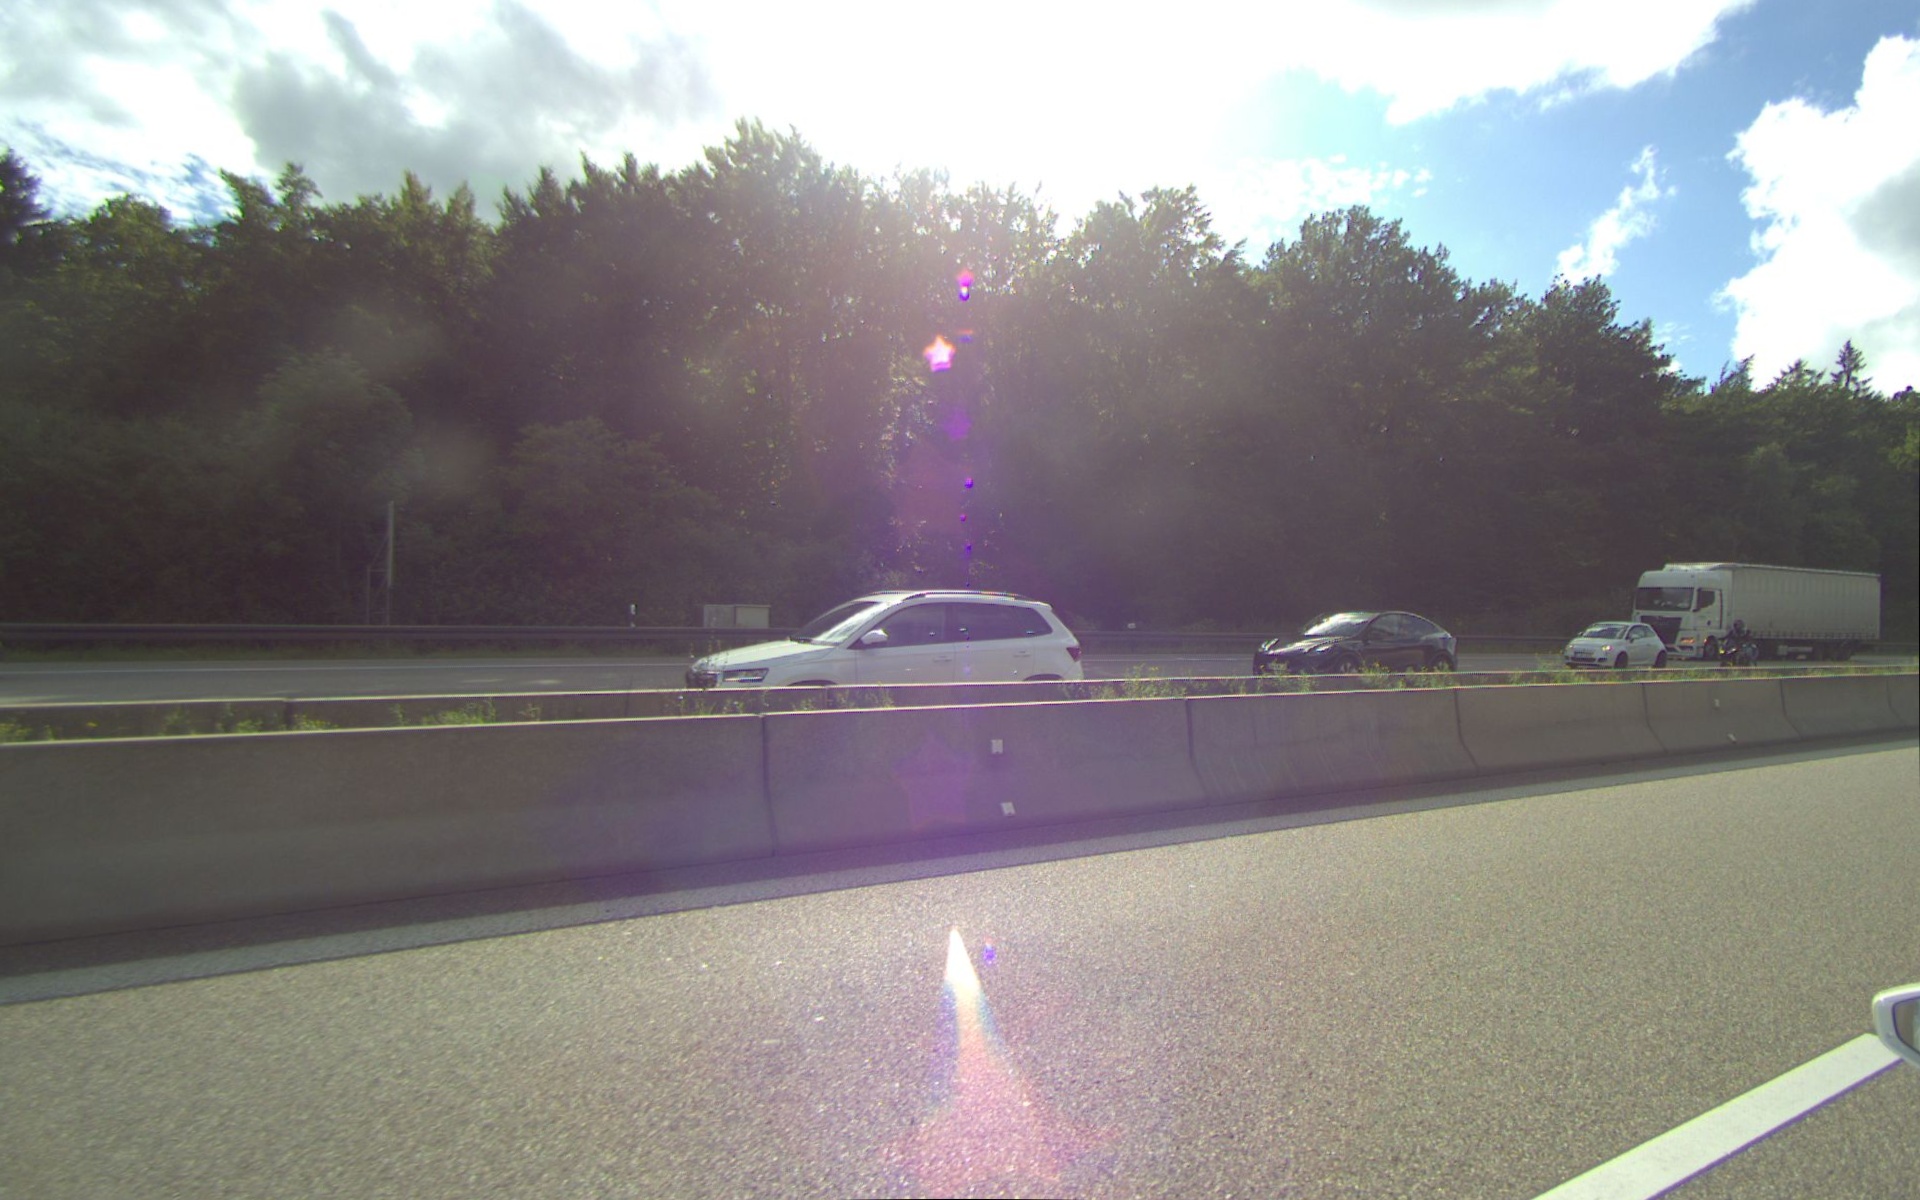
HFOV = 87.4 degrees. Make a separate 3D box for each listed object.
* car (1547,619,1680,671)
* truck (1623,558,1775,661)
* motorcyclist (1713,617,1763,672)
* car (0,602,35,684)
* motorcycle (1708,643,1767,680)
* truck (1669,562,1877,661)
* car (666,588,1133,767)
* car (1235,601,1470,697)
[{"bbox_3d":[20.722,1.405,31.833,4.079,1.518,1.839,2,0,-29],"label":"car"},{"bbox_3d":[31.591,0.435,42.903,6.517,4.123,2.695,1,0,-29],"label":"truck"},{"bbox_3d":[21.720,1.237,28.046,1.063,1.496,0.750,1,0,-30],"label":"motorcyclist"},{"bbox_3d":[-16.387,0.616,14.844,3.746,1.228,1.486,1,0,-32],"label":"car"},{"bbox_3d":[21.709,1.705,28.037,2.224,0.969,0.480,2,0,-30],"label":"motorcycle"},{"bbox_3d":[37.551,0.621,46.138,12.927,4.123,2.695,1,0,-29],"label":"truck"},{"bbox_3d":[-0.534,0.706,10.546,4.626,1.528,1.745,1,0,-31],"label":"car"},{"bbox_3d":[7.887,0.921,20.066,4.627,1.709,1.983,1,0,-32],"label":"car"}]
